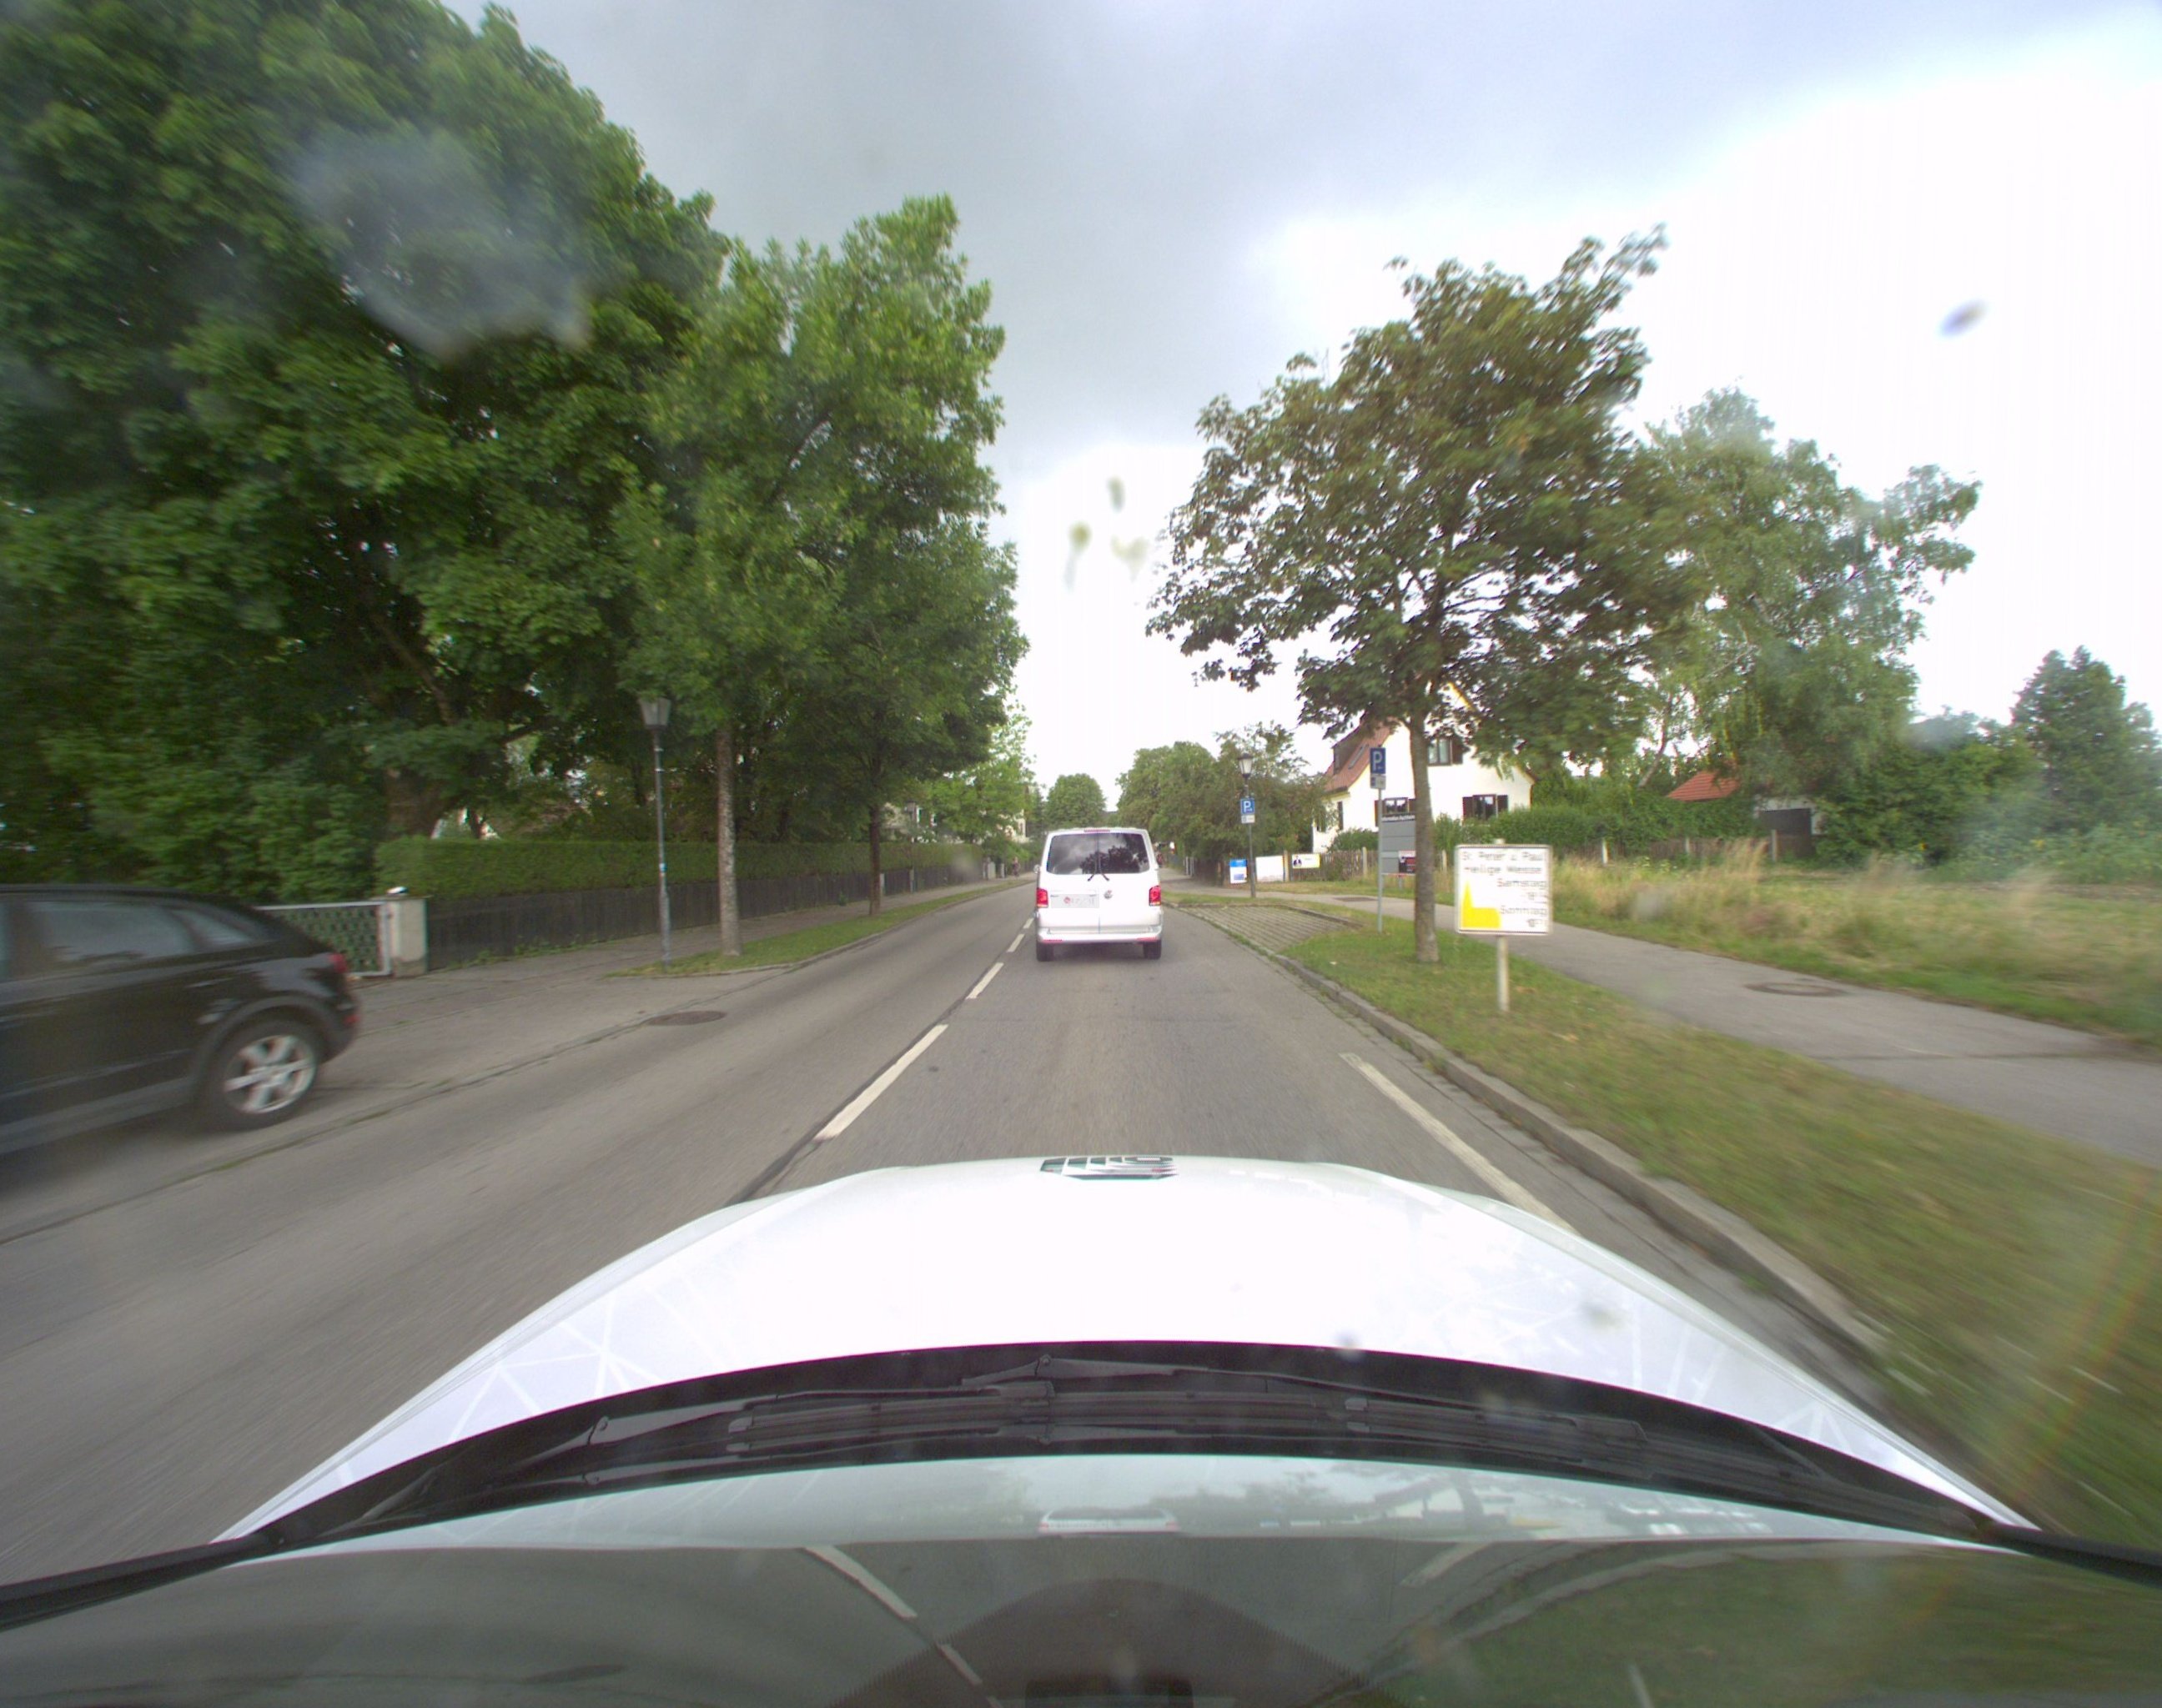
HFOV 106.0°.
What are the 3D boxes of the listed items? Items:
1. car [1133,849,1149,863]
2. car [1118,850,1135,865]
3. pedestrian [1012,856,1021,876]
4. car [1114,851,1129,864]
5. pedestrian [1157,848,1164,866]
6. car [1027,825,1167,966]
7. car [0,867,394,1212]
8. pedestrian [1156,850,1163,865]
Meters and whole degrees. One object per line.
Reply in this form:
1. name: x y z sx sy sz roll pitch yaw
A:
1. car: 9.381 0.335 127.581 1.981 2.013 4.011 -2 0 10
2. car: 6.344 0.502 113.434 1.983 2.013 4.007 -2 0 6
3. pedestrian: -4.944 0.941 62.354 0.620 1.549 0.522 0 -1 -1
4. car: 6.550 0.522 130.618 1.982 2.013 4.009 -2 0 8
5. pedestrian: 7.158 0.268 73.713 0.550 1.549 0.612 0 -1 -1
6. car: 0.317 0.580 13.210 1.880 1.912 4.003 -1 0 3
7. car: -6.059 0.928 3.926 1.765 1.598 4.240 -1 0 2
8. pedestrian: 7.731 0.345 80.497 0.620 1.523 0.579 0 -1 -1
